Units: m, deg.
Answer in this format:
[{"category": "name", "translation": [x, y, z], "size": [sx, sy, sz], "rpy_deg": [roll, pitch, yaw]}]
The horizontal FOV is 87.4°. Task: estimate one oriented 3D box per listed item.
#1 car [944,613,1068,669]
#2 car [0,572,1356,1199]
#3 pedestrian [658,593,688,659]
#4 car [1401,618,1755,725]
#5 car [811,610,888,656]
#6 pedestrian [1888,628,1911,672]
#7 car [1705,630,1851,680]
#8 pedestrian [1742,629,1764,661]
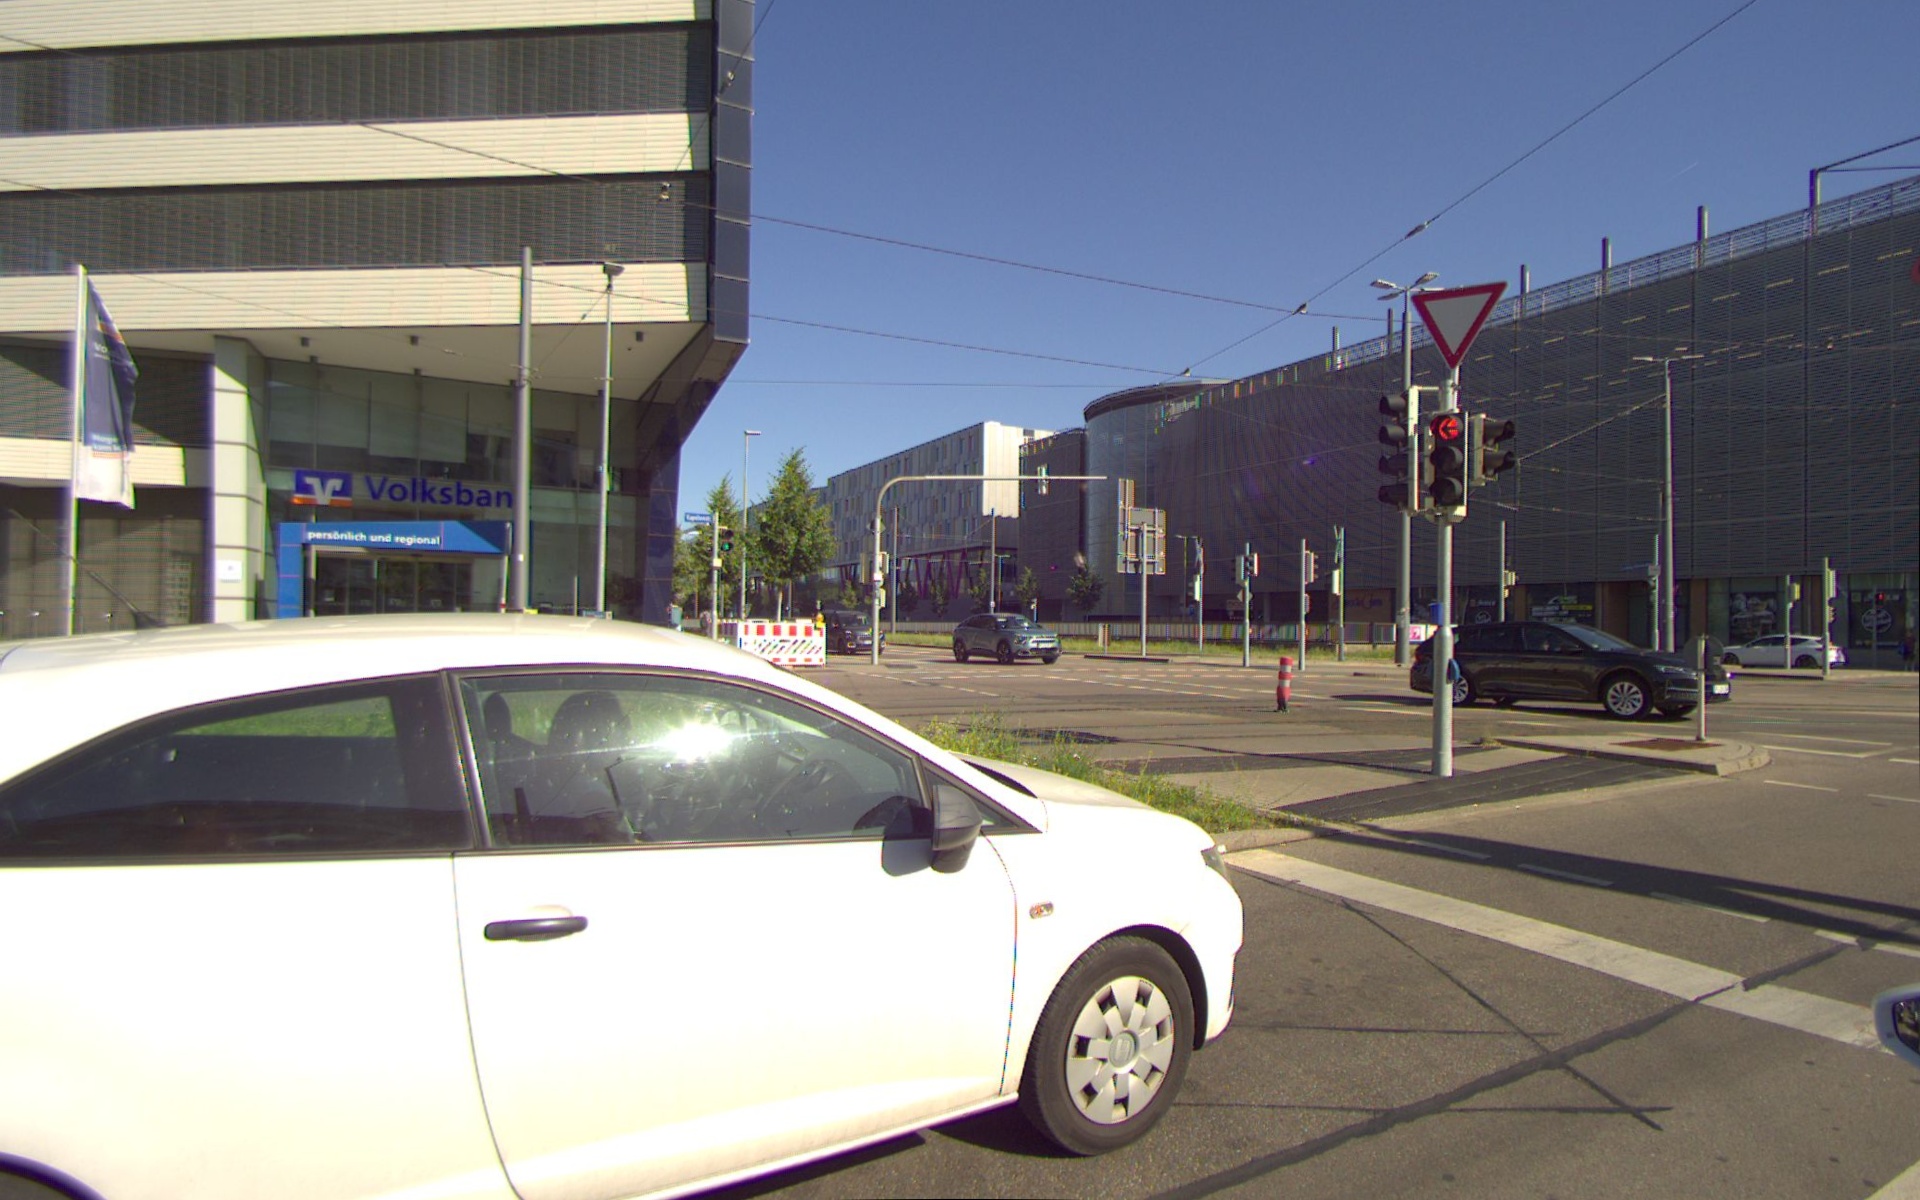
[{"category": "car", "translation": [1.323, 1.197, 30.661], "size": [1.690, 1.534, 4.241], "rpy_deg": [1, 0, -32]}, {"category": "car", "translation": [-0.953, 0.737, 2.796], "size": [3.977, 1.460, 1.723], "rpy_deg": [2, 1, -31]}, {"category": "pedestrian", "translation": [-7.596, 0.700, 26.576], "size": [0.729, 1.719, 0.805], "rpy_deg": [0, -2, -20]}, {"category": "car", "translation": [9.825, 1.043, 16.413], "size": [1.812, 1.481, 4.646], "rpy_deg": [1, -1, -31]}, {"category": "car", "translation": [-4.645, 1.334, 41.704], "size": [1.688, 1.815, 4.440], "rpy_deg": [1, -1, -28]}, {"category": "pedestrian", "translation": [39.973, 2.119, 42.734], "size": [0.687, 1.821, 0.726], "rpy_deg": [-2, -3, 44]}, {"category": "car", "translation": [33.998, 2.258, 41.870], "size": [1.819, 1.666, 4.268], "rpy_deg": [2, 2, -30]}, {"category": "pedestrian", "translation": [42.126, 2.379, 53.340], "size": [0.584, 1.622, 0.661], "rpy_deg": [2, 0, -11]}]
